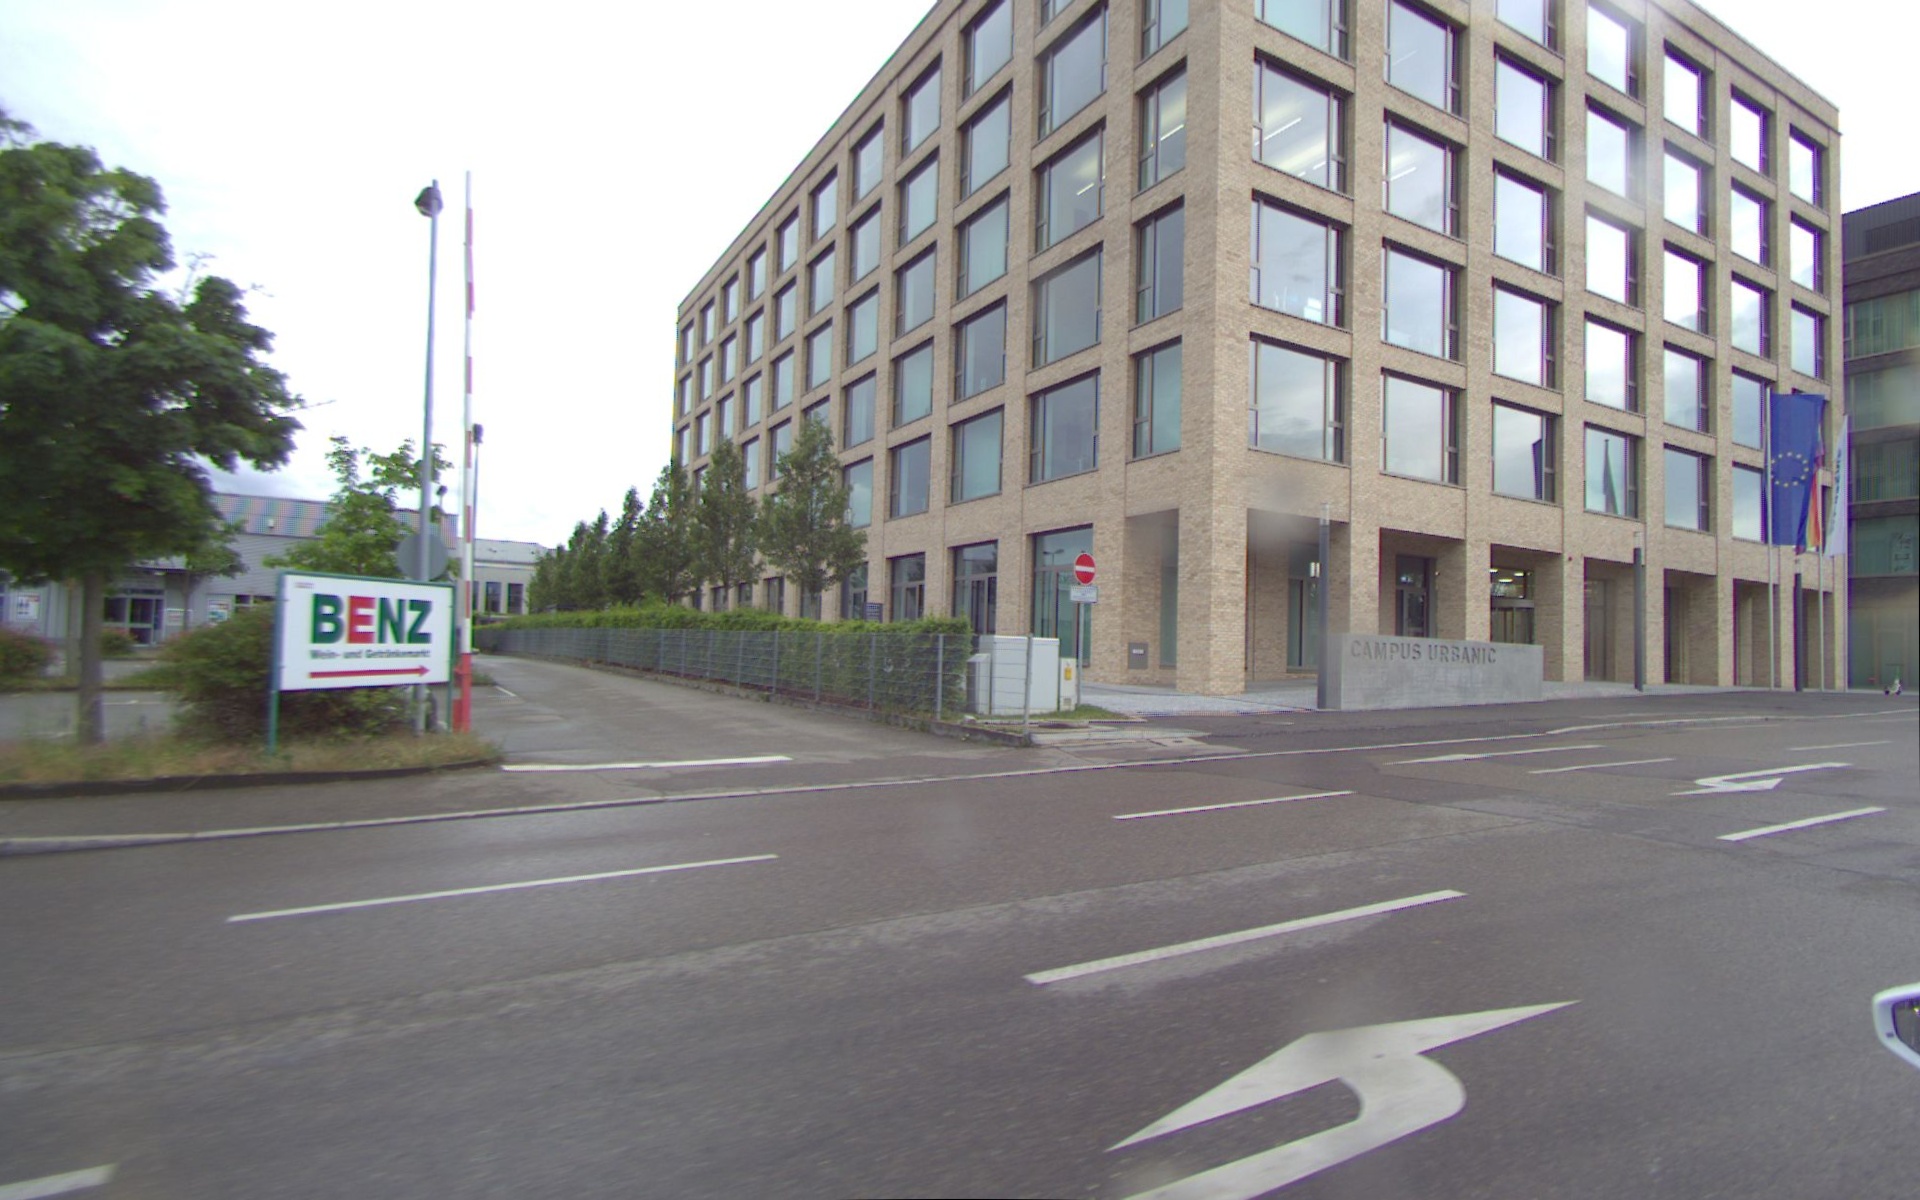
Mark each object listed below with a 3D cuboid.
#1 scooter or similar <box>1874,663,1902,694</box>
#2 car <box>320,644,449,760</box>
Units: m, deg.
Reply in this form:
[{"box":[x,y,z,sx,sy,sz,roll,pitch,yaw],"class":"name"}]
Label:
[{"box":[34.539,2.929,37.383,1.411,1.085,0.349,4,-2,-30],"class":"scooter or similar"},{"box":[-8.813,1.455,15.457,1.525,1.483,3.471,1,-1,-29],"class":"car"}]
